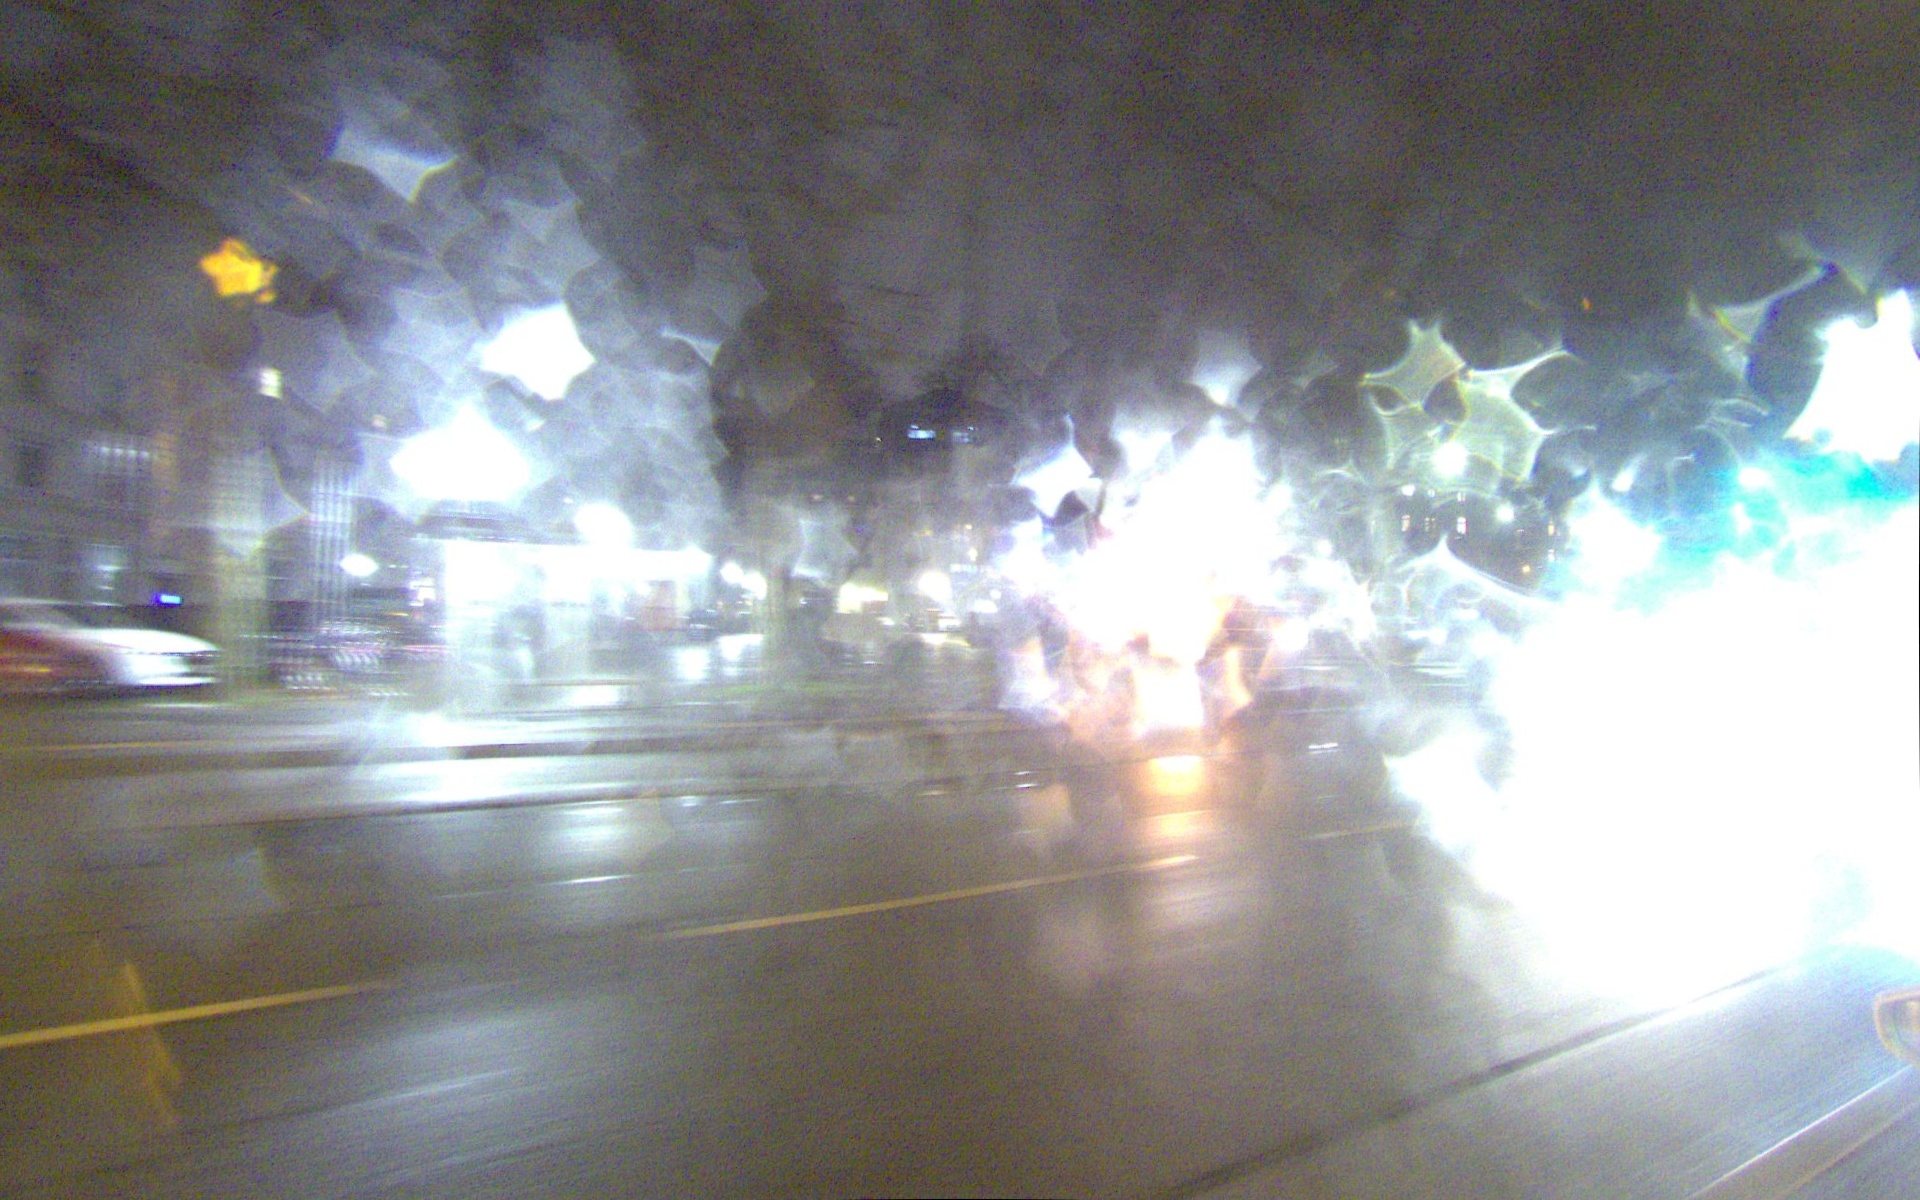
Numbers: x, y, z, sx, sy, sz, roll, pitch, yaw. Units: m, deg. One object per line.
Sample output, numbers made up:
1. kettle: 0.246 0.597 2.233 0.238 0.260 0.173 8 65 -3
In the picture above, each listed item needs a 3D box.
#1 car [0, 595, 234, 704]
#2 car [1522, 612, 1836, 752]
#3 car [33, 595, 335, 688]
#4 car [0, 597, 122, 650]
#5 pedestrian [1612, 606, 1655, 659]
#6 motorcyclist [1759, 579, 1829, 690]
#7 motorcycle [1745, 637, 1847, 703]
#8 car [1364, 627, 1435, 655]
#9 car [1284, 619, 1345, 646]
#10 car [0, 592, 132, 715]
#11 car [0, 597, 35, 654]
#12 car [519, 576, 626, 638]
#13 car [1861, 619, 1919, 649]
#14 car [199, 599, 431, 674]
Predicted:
1. car: -13.472 0.702 15.008 3.847 1.540 1.717 1 0 -9
2. car: 9.458 0.924 13.093 4.720 1.519 1.841 0 -1 -34
3. car: -13.563 0.722 17.781 3.847 1.540 1.717 1 0 -9
4. car: -26.959 0.644 28.580 4.412 1.462 1.867 1 0 -9
5. pedestrian: 22.713 1.100 33.885 0.950 1.759 0.771 0 0 6
6. motorcyclist: 15.729 0.645 18.944 0.970 2.040 0.691 0 0 -26
7. motorcycle: 15.807 1.298 18.983 2.147 1.154 0.699 0 -1 -27
8. car: 25.882 2.397 59.339 1.863 1.590 4.327 0 -1 -9
9. car: 23.905 2.142 67.961 1.863 1.766 4.733 0 -1 -9
10. car: -13.037 0.615 12.505 3.847 1.451 1.717 1 0 -9
11. car: -26.941 0.634 25.763 4.412 1.462 1.867 1 0 -9
12. car: -17.775 0.334 46.275 4.275 2.767 1.717 1 0 -9
13. car: 59.292 2.116 63.146 4.115 1.723 1.701 -1 0 -7
14. car: -13.893 0.789 21.854 3.847 1.540 1.717 1 0 -9
